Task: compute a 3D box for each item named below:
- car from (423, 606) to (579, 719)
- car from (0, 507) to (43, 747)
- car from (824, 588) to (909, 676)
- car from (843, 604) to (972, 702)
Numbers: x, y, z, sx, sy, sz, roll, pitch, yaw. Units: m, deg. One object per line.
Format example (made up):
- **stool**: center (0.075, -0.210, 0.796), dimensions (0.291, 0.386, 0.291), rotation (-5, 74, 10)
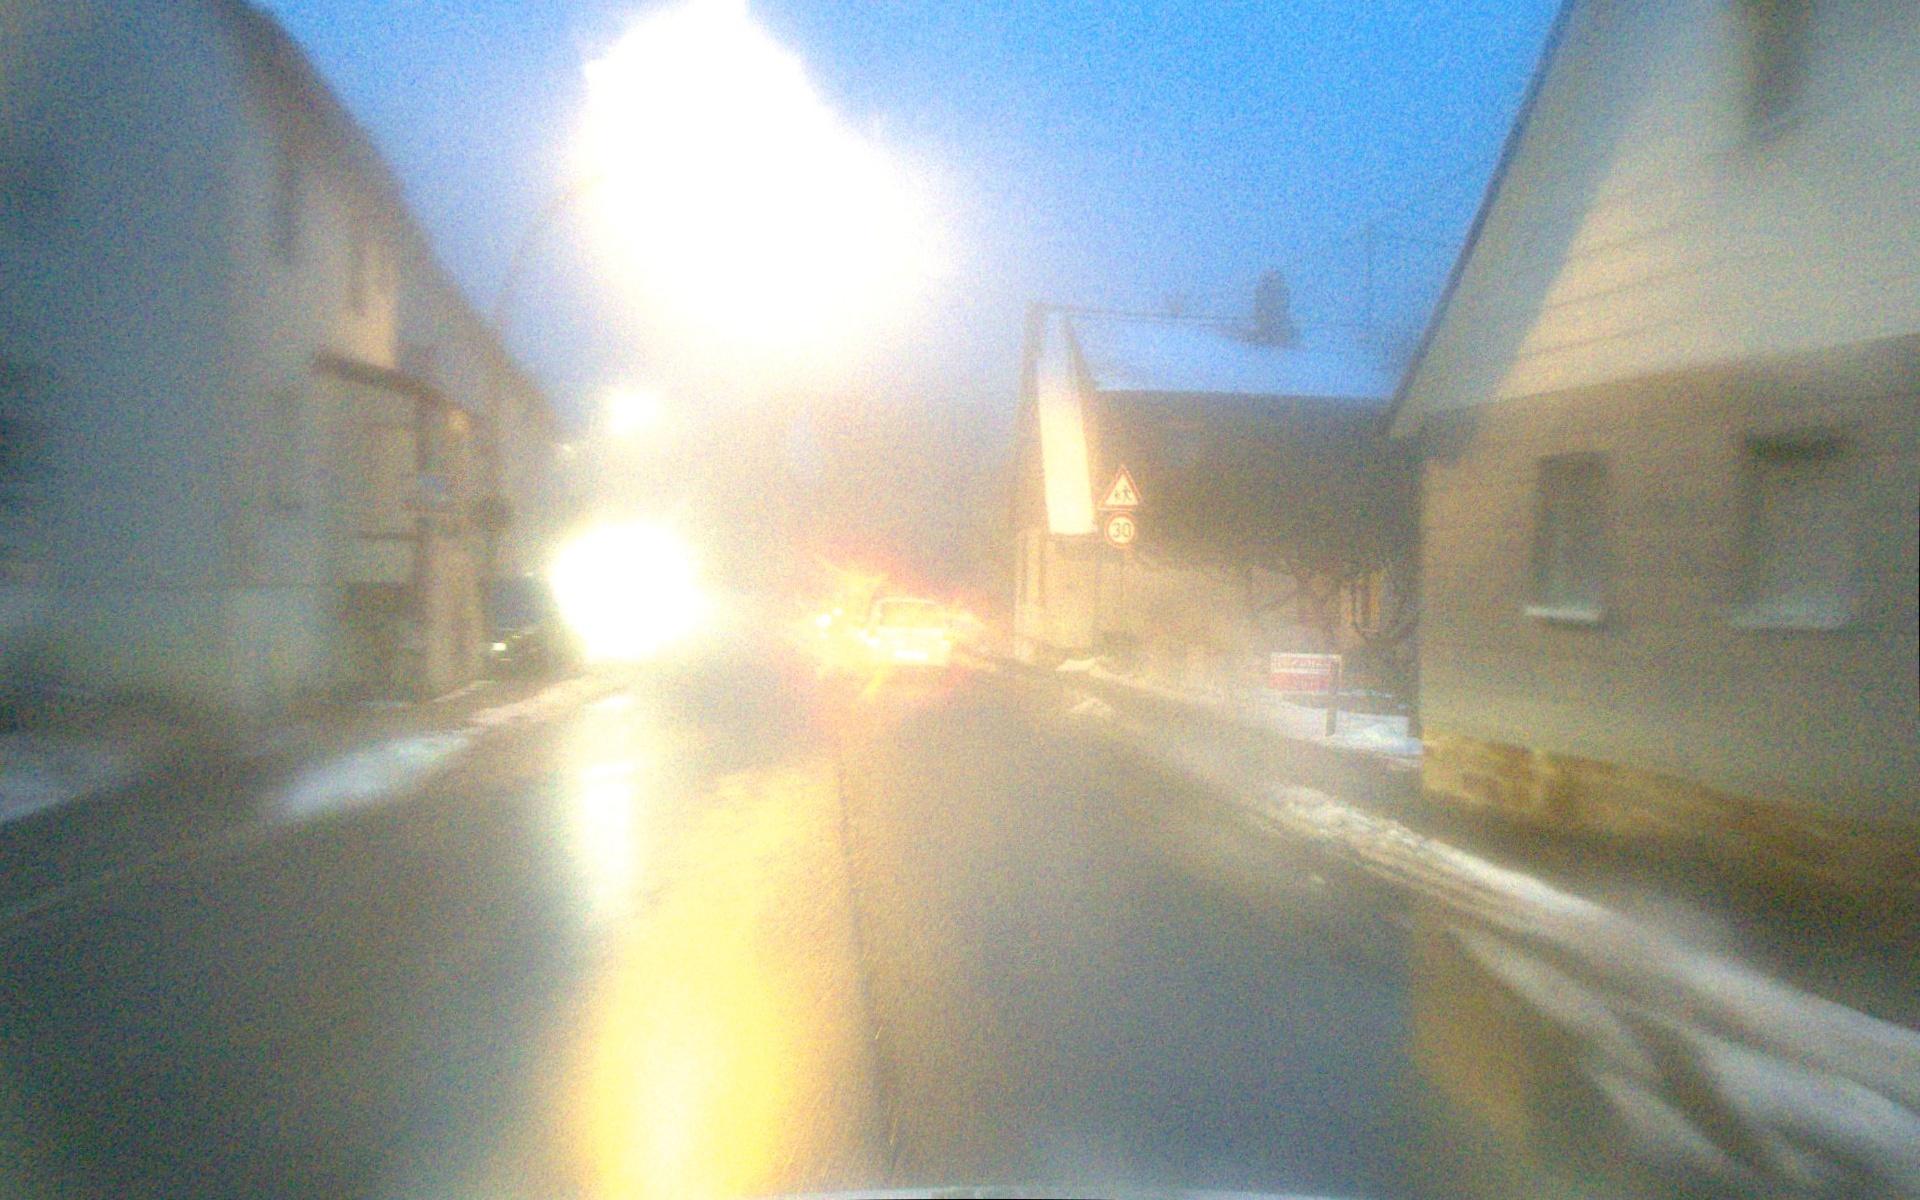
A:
- **car**: center (-7.600, 0.980, 27.751), dimensions (1.957, 1.549, 4.183), rotation (3, 1, -9)
- **car**: center (-7.462, 0.200, 10.295), dimensions (1.735, 1.766, 4.624), rotation (6, 1, -13)
- **car**: center (-2.443, 0.828, 42.258), dimensions (1.955, 2.049, 3.996), rotation (3, -2, -5)
- **car**: center (-1.020, 0.944, 30.010), dimensions (1.956, 1.534, 3.994), rotation (4, -2, -6)
